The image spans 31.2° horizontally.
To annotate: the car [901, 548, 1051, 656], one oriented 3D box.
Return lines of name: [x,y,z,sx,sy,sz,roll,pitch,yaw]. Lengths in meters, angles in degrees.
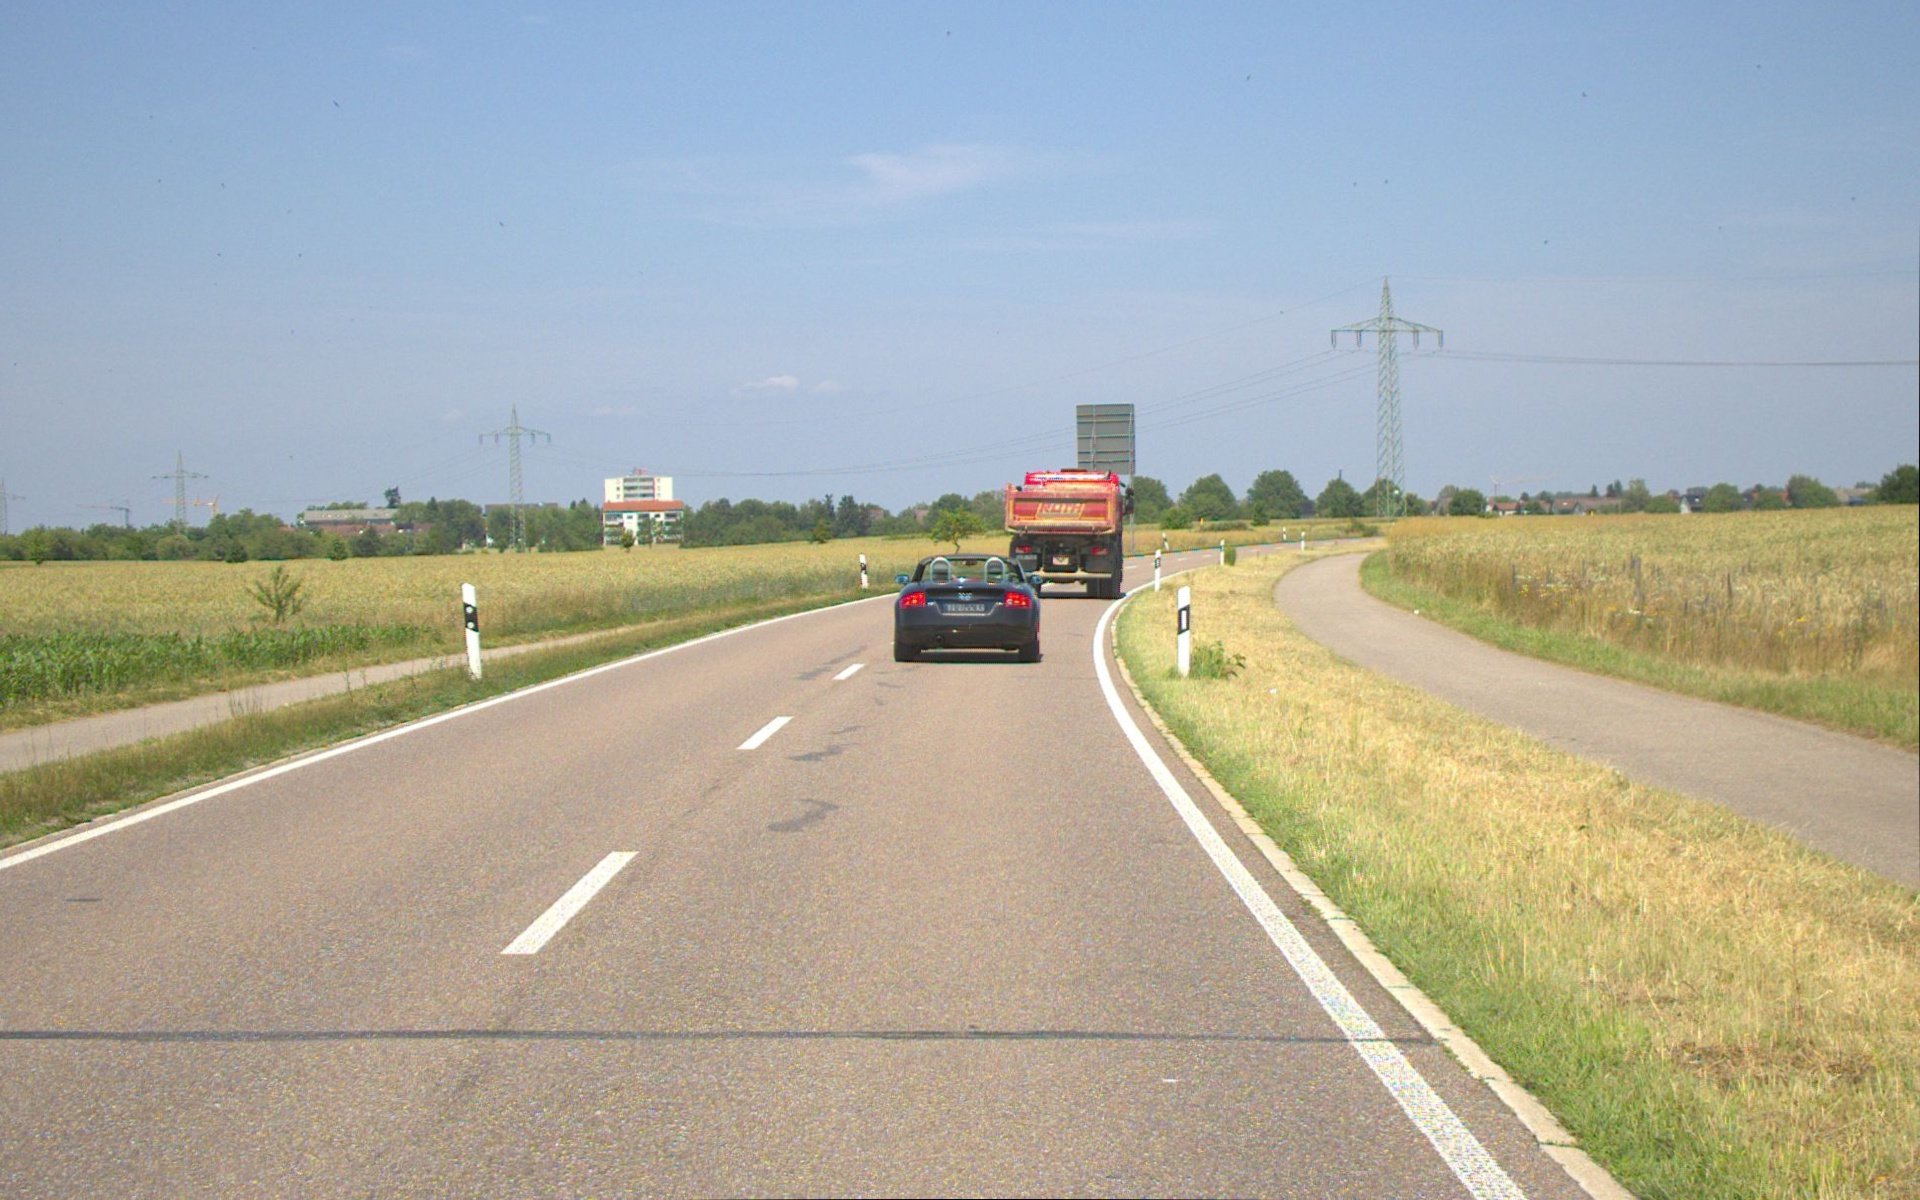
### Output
car: [0.239,0.002,42.601,1.744,1.275,4.000,0,1,2]

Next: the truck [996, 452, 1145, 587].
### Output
truck: [2.718,-1.863,82.217,2.939,3.078,7.194,0,0,7]
